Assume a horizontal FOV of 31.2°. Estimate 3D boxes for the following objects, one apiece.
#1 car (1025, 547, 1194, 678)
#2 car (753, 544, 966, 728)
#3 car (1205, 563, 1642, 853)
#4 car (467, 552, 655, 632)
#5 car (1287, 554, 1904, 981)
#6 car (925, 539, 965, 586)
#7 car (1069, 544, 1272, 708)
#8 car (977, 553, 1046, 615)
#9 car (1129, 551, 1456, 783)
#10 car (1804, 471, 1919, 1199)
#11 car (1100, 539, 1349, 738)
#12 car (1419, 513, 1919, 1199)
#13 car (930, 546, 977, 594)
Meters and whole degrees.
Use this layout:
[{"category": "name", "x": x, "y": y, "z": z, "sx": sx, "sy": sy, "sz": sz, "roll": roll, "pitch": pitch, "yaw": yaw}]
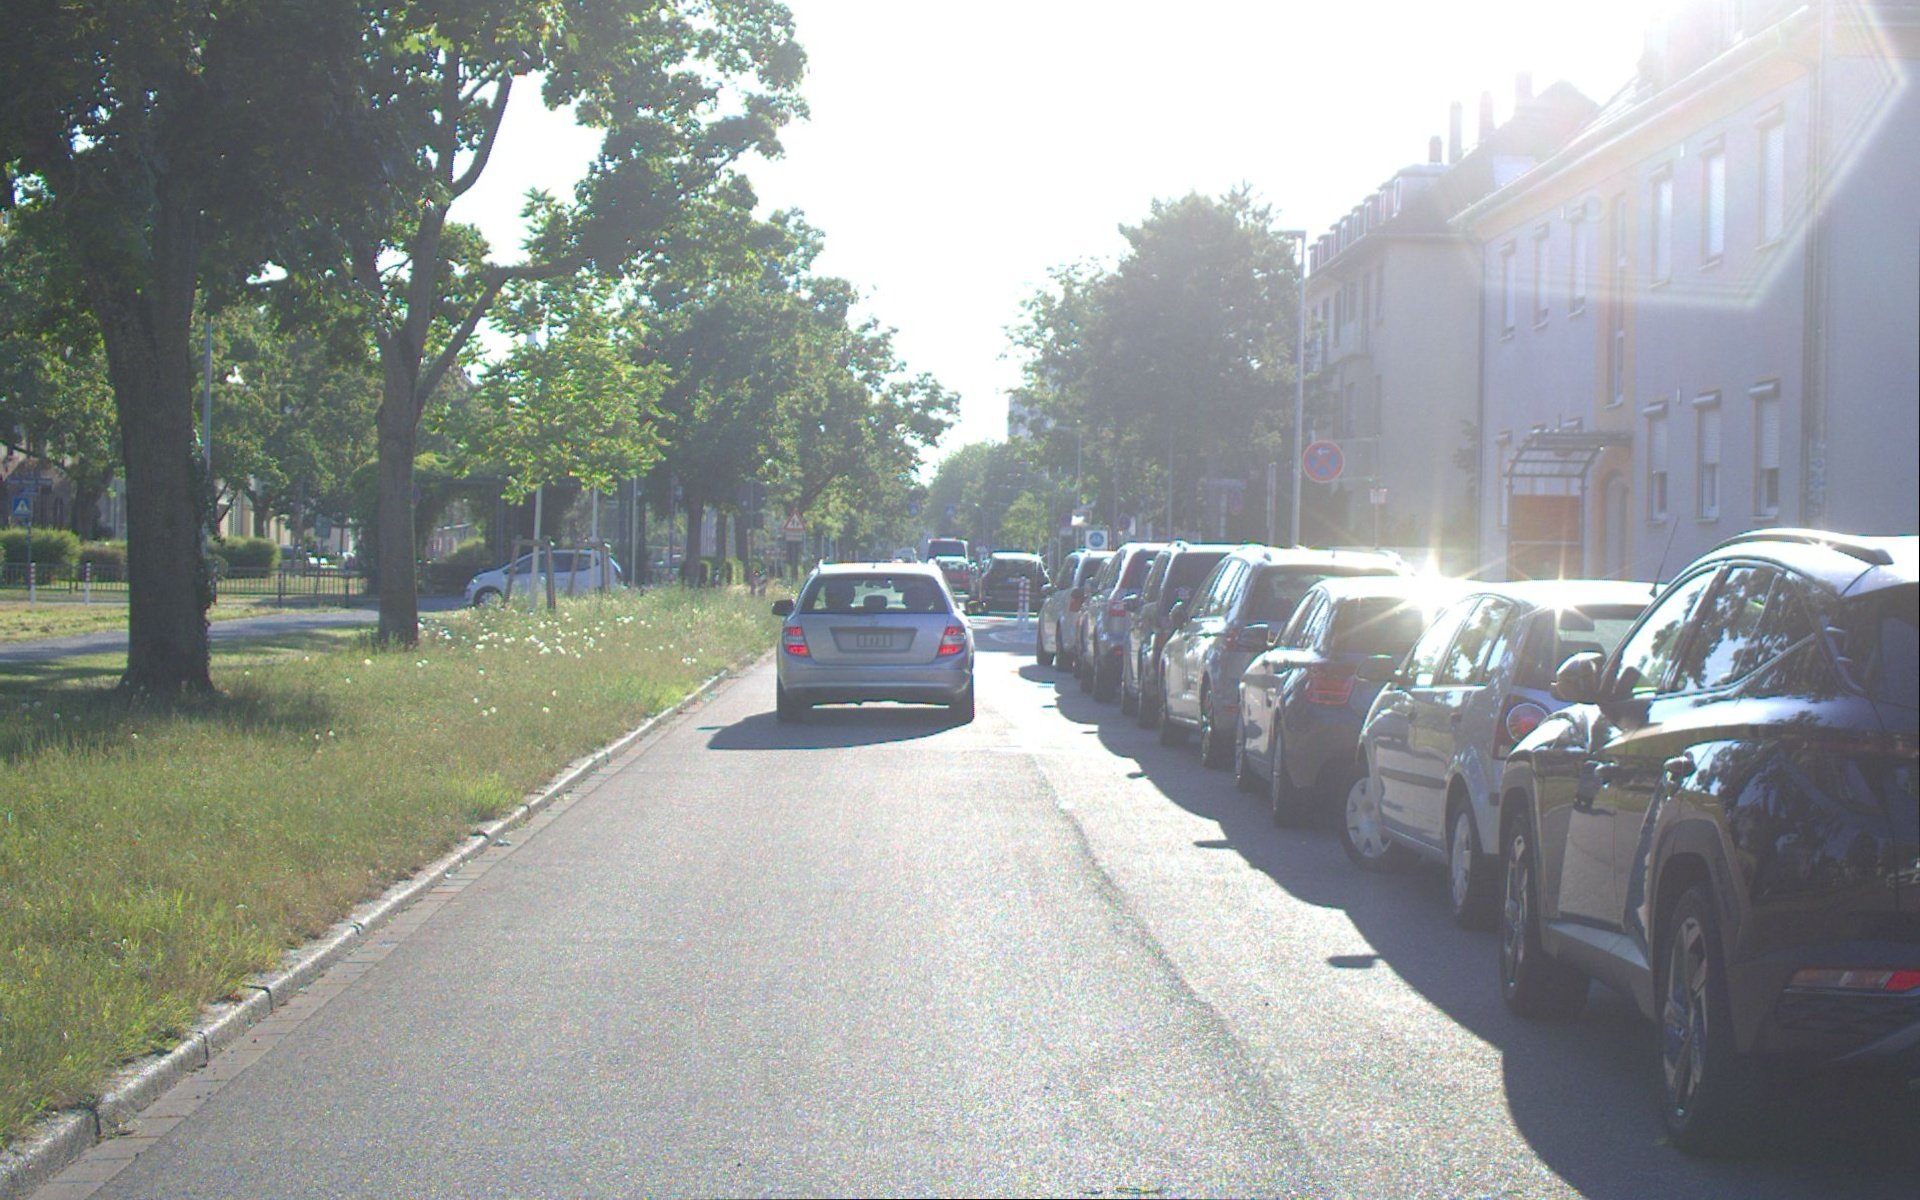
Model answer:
[{"category": "car", "x": 2.005, "y": 0.133, "z": 47.354, "sx": 1.716, "sy": 1.633, "sz": 4.565, "roll": 3, "pitch": 1, "yaw": -4}, {"category": "car", "x": -0.870, "y": 0.277, "z": 31.470, "sx": 1.823, "sy": 1.561, "sz": 4.000, "roll": 0, "pitch": 1, "yaw": 0}, {"category": "car", "x": 2.652, "y": 0.553, "z": 20.746, "sx": 1.993, "sy": 1.457, "sz": 4.561, "roll": 3, "pitch": 1, "yaw": 0}, {"category": "car", "x": -8.811, "y": -0.172, "z": 76.116, "sx": 3.893, "sy": 1.591, "sz": 2.000, "roll": -2, "pitch": 0, "yaw": -1}, {"category": "car", "x": 2.737, "y": 0.665, "z": 15.798, "sx": 1.728, "sy": 1.543, "sz": 4.208, "roll": 6, "pitch": 0, "yaw": -3}, {"category": "car", "x": -0.735, "y": -1.822, "z": 167.505, "sx": 1.861, "sy": 2.185, "sz": 5.070, "roll": 1, "pitch": 1, "yaw": 0}, {"category": "car", "x": 2.207, "y": 0.253, "z": 37.161, "sx": 1.777, "sy": 1.637, "sz": 4.757, "roll": 1, "pitch": 0, "yaw": -1}, {"category": "car", "x": 1.354, "y": -0.414, "z": 91.189, "sx": 1.721, "sy": 1.591, "sz": 4.000, "roll": 1, "pitch": 0, "yaw": 0}, {"category": "car", "x": 2.404, "y": 0.432, "z": 25.915, "sx": 1.724, "sy": 1.556, "sz": 4.417, "roll": 2, "pitch": 1, "yaw": -4}, {"category": "car", "x": 2.804, "y": 0.700, "z": 4.829, "sx": 1.933, "sy": 1.714, "sz": 4.621, "roll": 4, "pitch": 1, "yaw": -1}, {"category": "car", "x": 2.354, "y": 0.326, "z": 31.726, "sx": 1.765, "sy": 1.629, "sz": 4.765, "roll": 2, "pitch": 0, "yaw": -1}, {"category": "car", "x": 2.680, "y": 0.616, "z": 10.354, "sx": 1.854, "sy": 1.651, "sz": 4.820, "roll": 2, "pitch": 1, "yaw": 0}, {"category": "car", "x": -0.278, "y": -1.307, "z": 149.454, "sx": 1.988, "sy": 2.016, "sz": 4.000, "roll": 1, "pitch": 1, "yaw": 0}]
